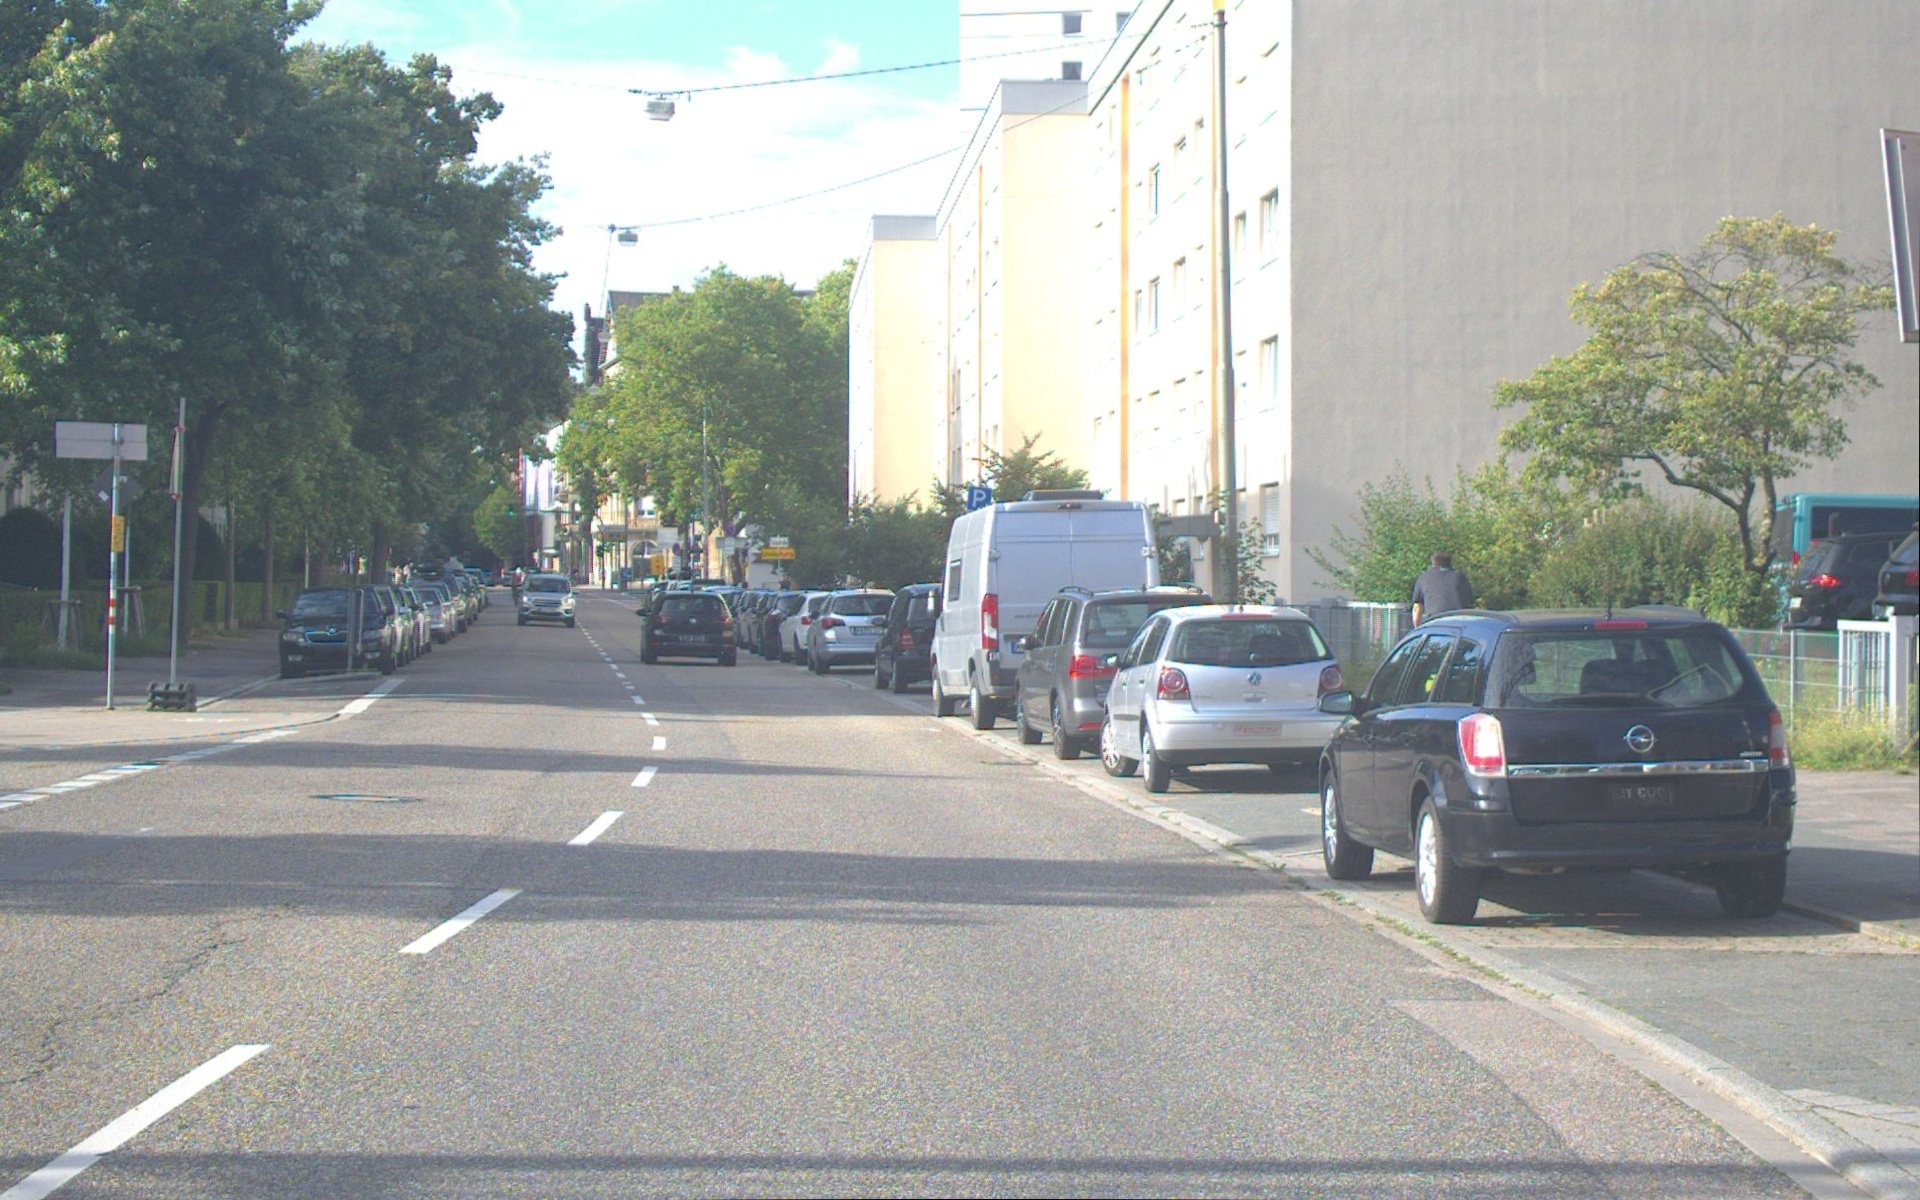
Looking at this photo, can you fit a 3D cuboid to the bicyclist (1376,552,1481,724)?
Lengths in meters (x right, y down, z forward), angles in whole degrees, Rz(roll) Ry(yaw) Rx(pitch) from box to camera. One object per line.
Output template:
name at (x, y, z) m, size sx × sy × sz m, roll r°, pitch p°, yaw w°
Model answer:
bicyclist at (4.249, 0.341, 31.235) m, size 0.737 × 1.508 × 0.875 m, roll -2°, pitch 0°, yaw -4°

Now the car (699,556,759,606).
car at (-7.922, -0.667, 117.654) m, size 1.993 × 1.678 × 4.001 m, roll 0°, pitch 0°, yaw -4°

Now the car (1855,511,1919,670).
car at (11.808, -0.120, 35.809) m, size 4.448 × 1.616 × 2.000 m, roll 0°, pitch 0°, yaw 0°

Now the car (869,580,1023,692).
car at (-0.250, 0.500, 50.973) m, size 1.993 × 1.568 × 4.001 m, roll 0°, pitch 0°, yaw -4°

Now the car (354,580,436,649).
car at (-11.854, 0.289, 72.067) m, size 1.637 × 1.385 × 3.435 m, roll 0°, pitch 0°, yaw -10°

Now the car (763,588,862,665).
car at (-3.198, 0.541, 73.806) m, size 1.993 × 1.568 × 4.001 m, roll 0°, pitch 0°, yaw -4°

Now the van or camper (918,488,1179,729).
van or camper at (0.932, 0.067, 39.907) m, size 2.209 × 2.598 × 5.373 m, roll 0°, pitch 0°, yaw -7°

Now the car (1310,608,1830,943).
car at (2.942, 0.788, 17.462) m, size 1.717 × 1.491 × 4.268 m, roll 0°, pitch 0°, yaw -2°

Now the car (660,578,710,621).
car at (-11.831, -0.016, 148.266) m, size 1.993 × 1.749 × 4.000 m, roll 1°, pitch 0°, yaw -3°

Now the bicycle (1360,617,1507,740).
bicycle at (4.265, 0.685, 31.200) m, size 0.740 × 1.031 × 2.762 m, roll -2°, pitch 0°, yaw -4°

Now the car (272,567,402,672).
car at (-10.100, 0.292, 55.886) m, size 1.993 × 1.634 × 4.001 m, roll 0°, pitch 0°, yaw -10°

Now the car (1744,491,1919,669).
car at (12.174, -0.266, 43.317) m, size 4.119 × 2.178 × 2.000 m, roll 0°, pitch 0°, yaw 0°

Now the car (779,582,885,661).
car at (-2.615, 0.409, 69.394) m, size 1.993 × 1.525 × 4.001 m, roll 0°, pitch 0°, yaw -4°

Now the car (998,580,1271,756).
car at (1.646, 0.613, 34.083) m, size 1.993 × 1.610 × 4.409 m, roll 0°, pitch 0°, yaw -7°

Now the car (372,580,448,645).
car at (-13.767, 0.289, 85.956) m, size 1.806 × 1.556 × 3.435 m, roll -1°, pitch 0°, yaw -10°

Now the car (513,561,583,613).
car at (-13.461, -0.435, 112.129) m, size 2.055 × 1.658 × 3.927 m, roll -1°, pitch 0°, yaw -10°

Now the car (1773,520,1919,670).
car at (11.931, -0.079, 40.988) m, size 3.987 × 1.733 × 2.000 m, roll 0°, pitch 0°, yaw 0°

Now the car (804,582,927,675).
car at (-1.721, 0.484, 61.466) m, size 1.993 × 1.568 × 4.001 m, roll 0°, pitch 0°, yaw -4°

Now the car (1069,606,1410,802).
car at (2.230, 0.804, 28.863) m, size 2.015 × 1.470 × 4.803 m, roll -1°, pitch 0°, yaw -5°

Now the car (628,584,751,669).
car at (-5.290, 0.485, 66.829) m, size 1.993 × 1.565 × 4.001 m, roll 1°, pitch 0°, yaw -10°
